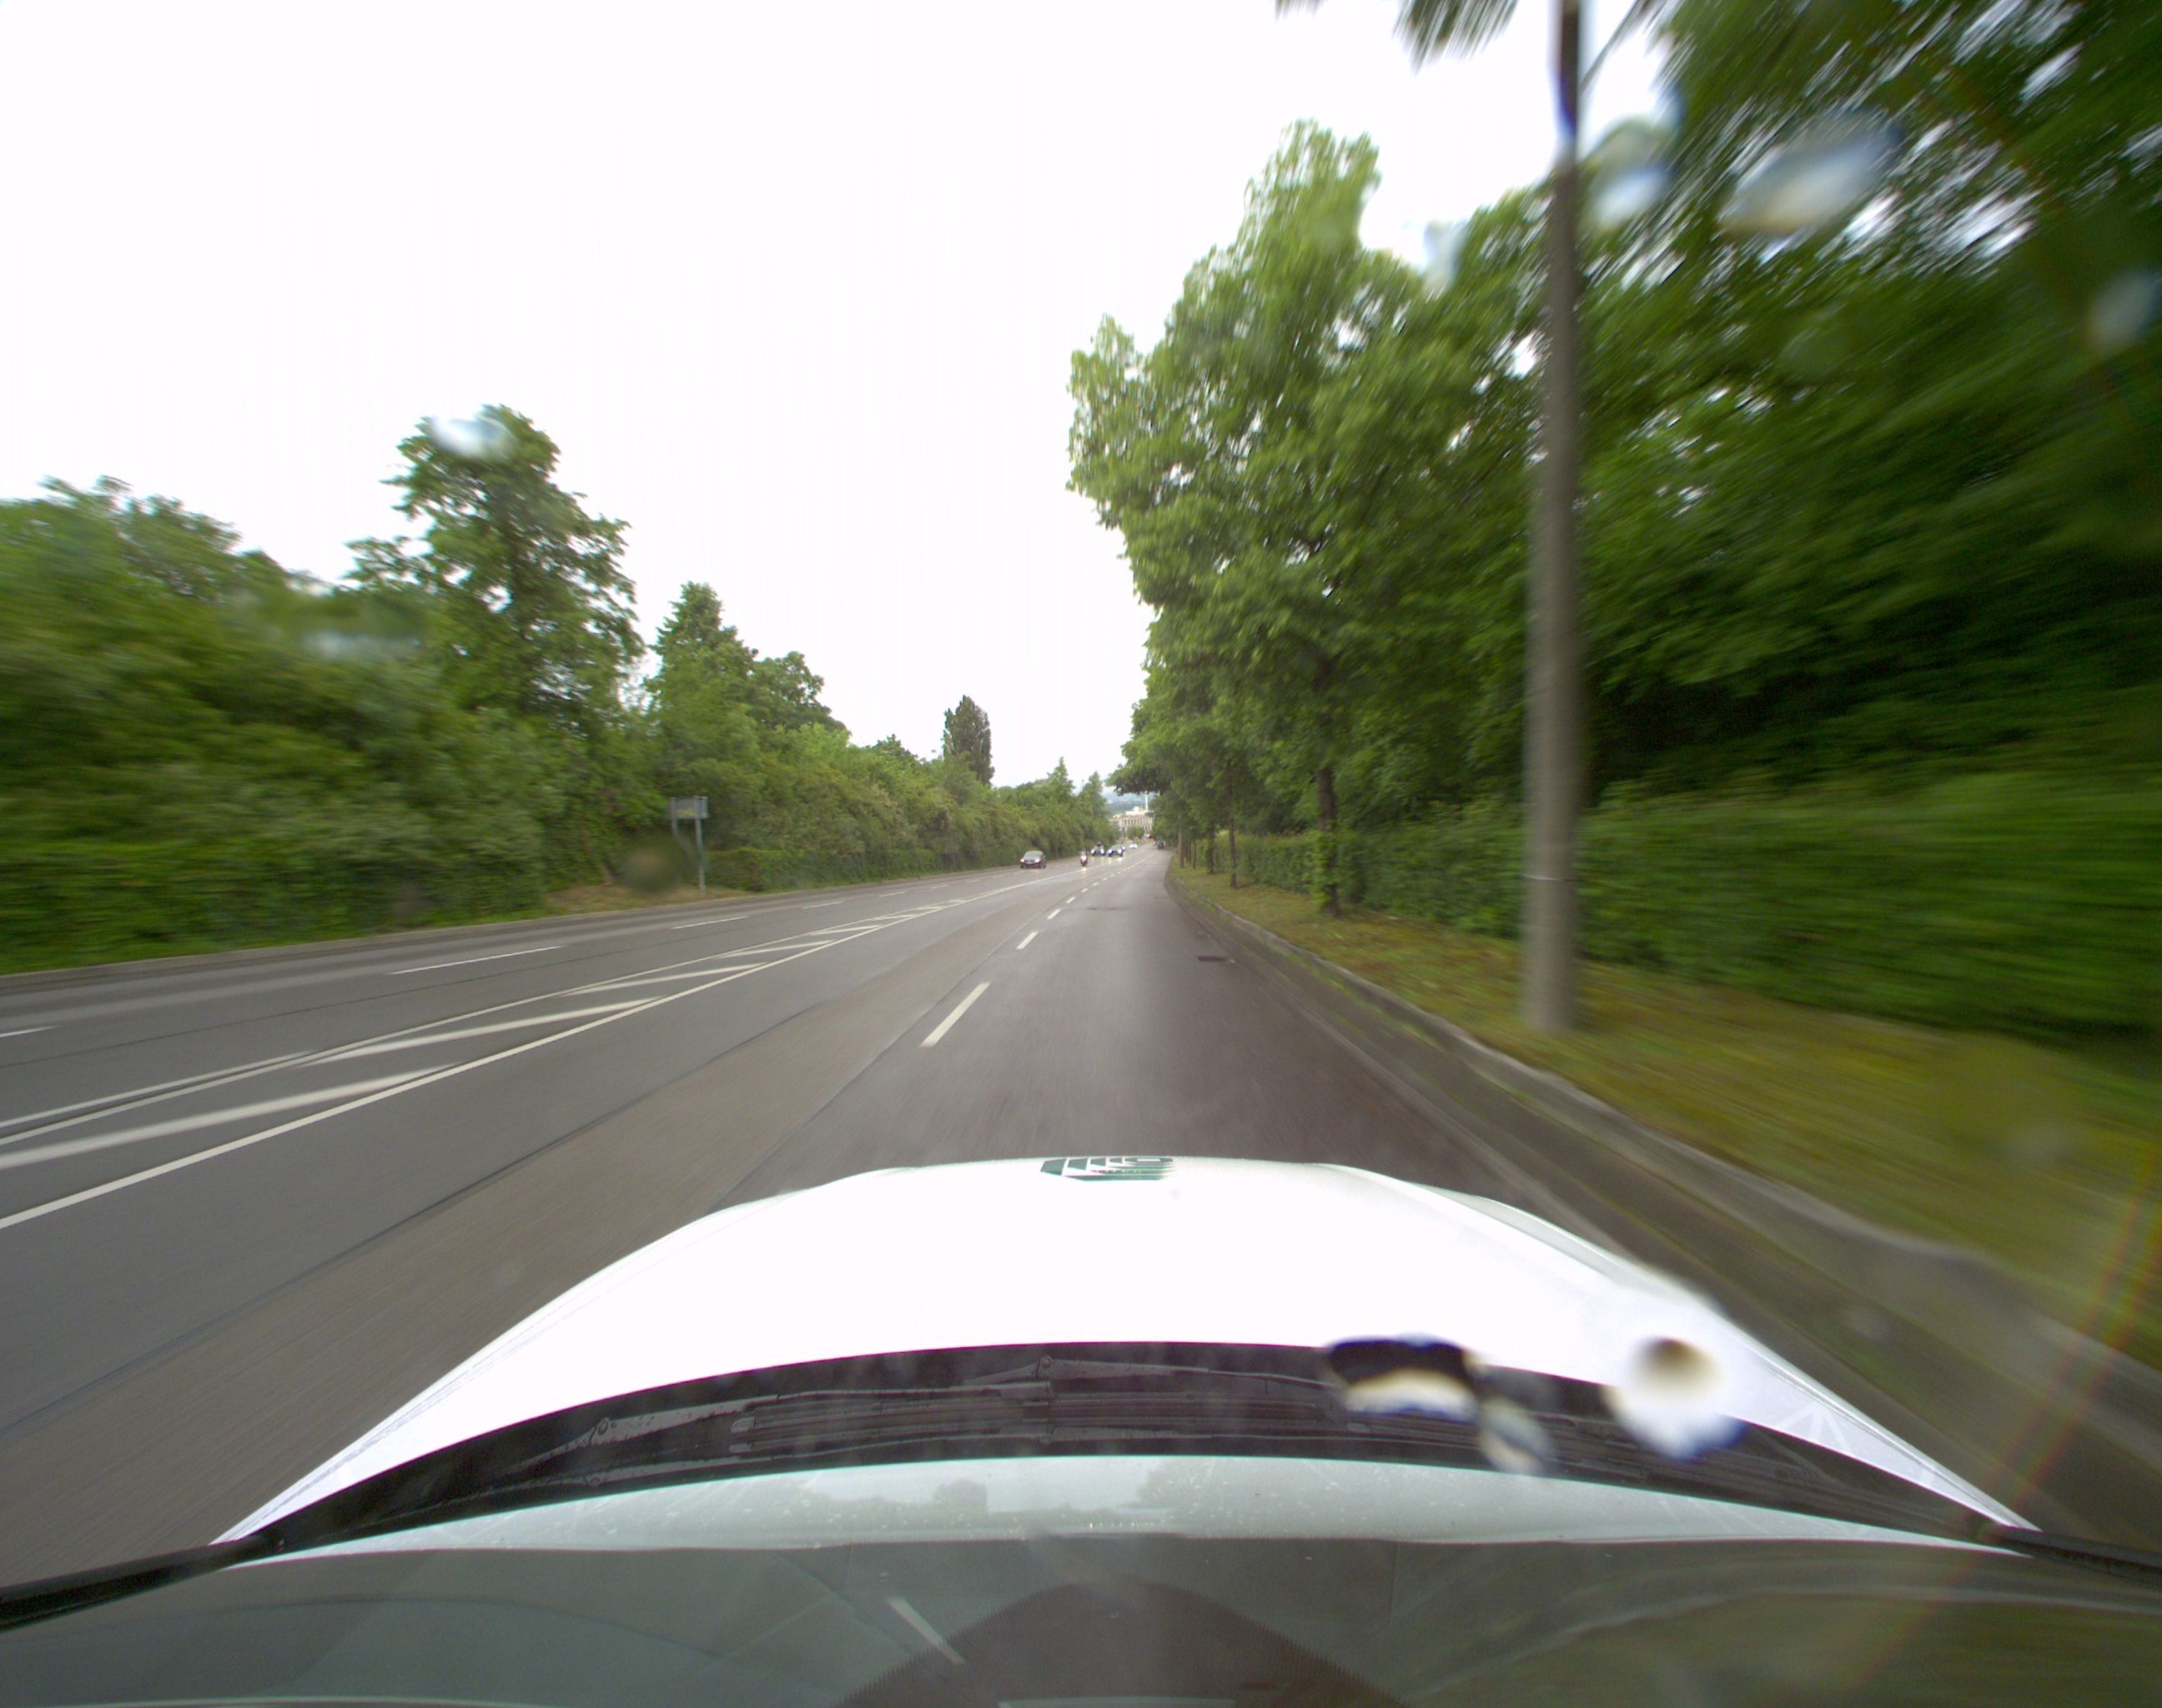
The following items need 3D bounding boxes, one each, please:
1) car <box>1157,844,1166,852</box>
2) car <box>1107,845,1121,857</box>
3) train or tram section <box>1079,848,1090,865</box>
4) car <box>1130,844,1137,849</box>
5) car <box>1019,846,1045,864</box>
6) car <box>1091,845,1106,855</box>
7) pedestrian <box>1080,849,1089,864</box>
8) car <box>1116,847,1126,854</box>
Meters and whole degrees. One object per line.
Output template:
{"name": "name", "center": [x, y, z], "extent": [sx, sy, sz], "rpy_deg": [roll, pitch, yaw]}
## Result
{"name": "car", "center": [19.892, -1.486, 201.370], "extent": [1.839, 1.702, 3.801], "rpy_deg": [1, -1, 8]}
{"name": "car", "center": [4.913, -0.420, 119.620], "extent": [1.803, 1.657, 4.603], "rpy_deg": [0, 0, 6]}
{"name": "train or tram section", "center": [0.322, 0.217, 74.043], "extent": [0.787, 1.570, 2.387], "rpy_deg": [1, 0, 5]}
{"name": "car", "center": [14.602, -2.103, 226.705], "extent": [1.706, 1.505, 4.525], "rpy_deg": [1, 1, 7]}
{"name": "car", "center": [-4.029, 0.051, 66.935], "extent": [1.541, 1.437, 3.702], "rpy_deg": [0, 0, 6]}
{"name": "car", "center": [2.744, -0.609, 126.101], "extent": [1.889, 1.552, 4.639], "rpy_deg": [1, 0, 7]}
{"name": "pedestrian", "center": [0.322, 0.217, 74.047], "extent": [0.787, 1.383, 0.976], "rpy_deg": [1, 0, 5]}
{"name": "car", "center": [8.505, -0.670, 173.141], "extent": [1.750, 1.381, 4.847], "rpy_deg": [1, 1, 6]}
